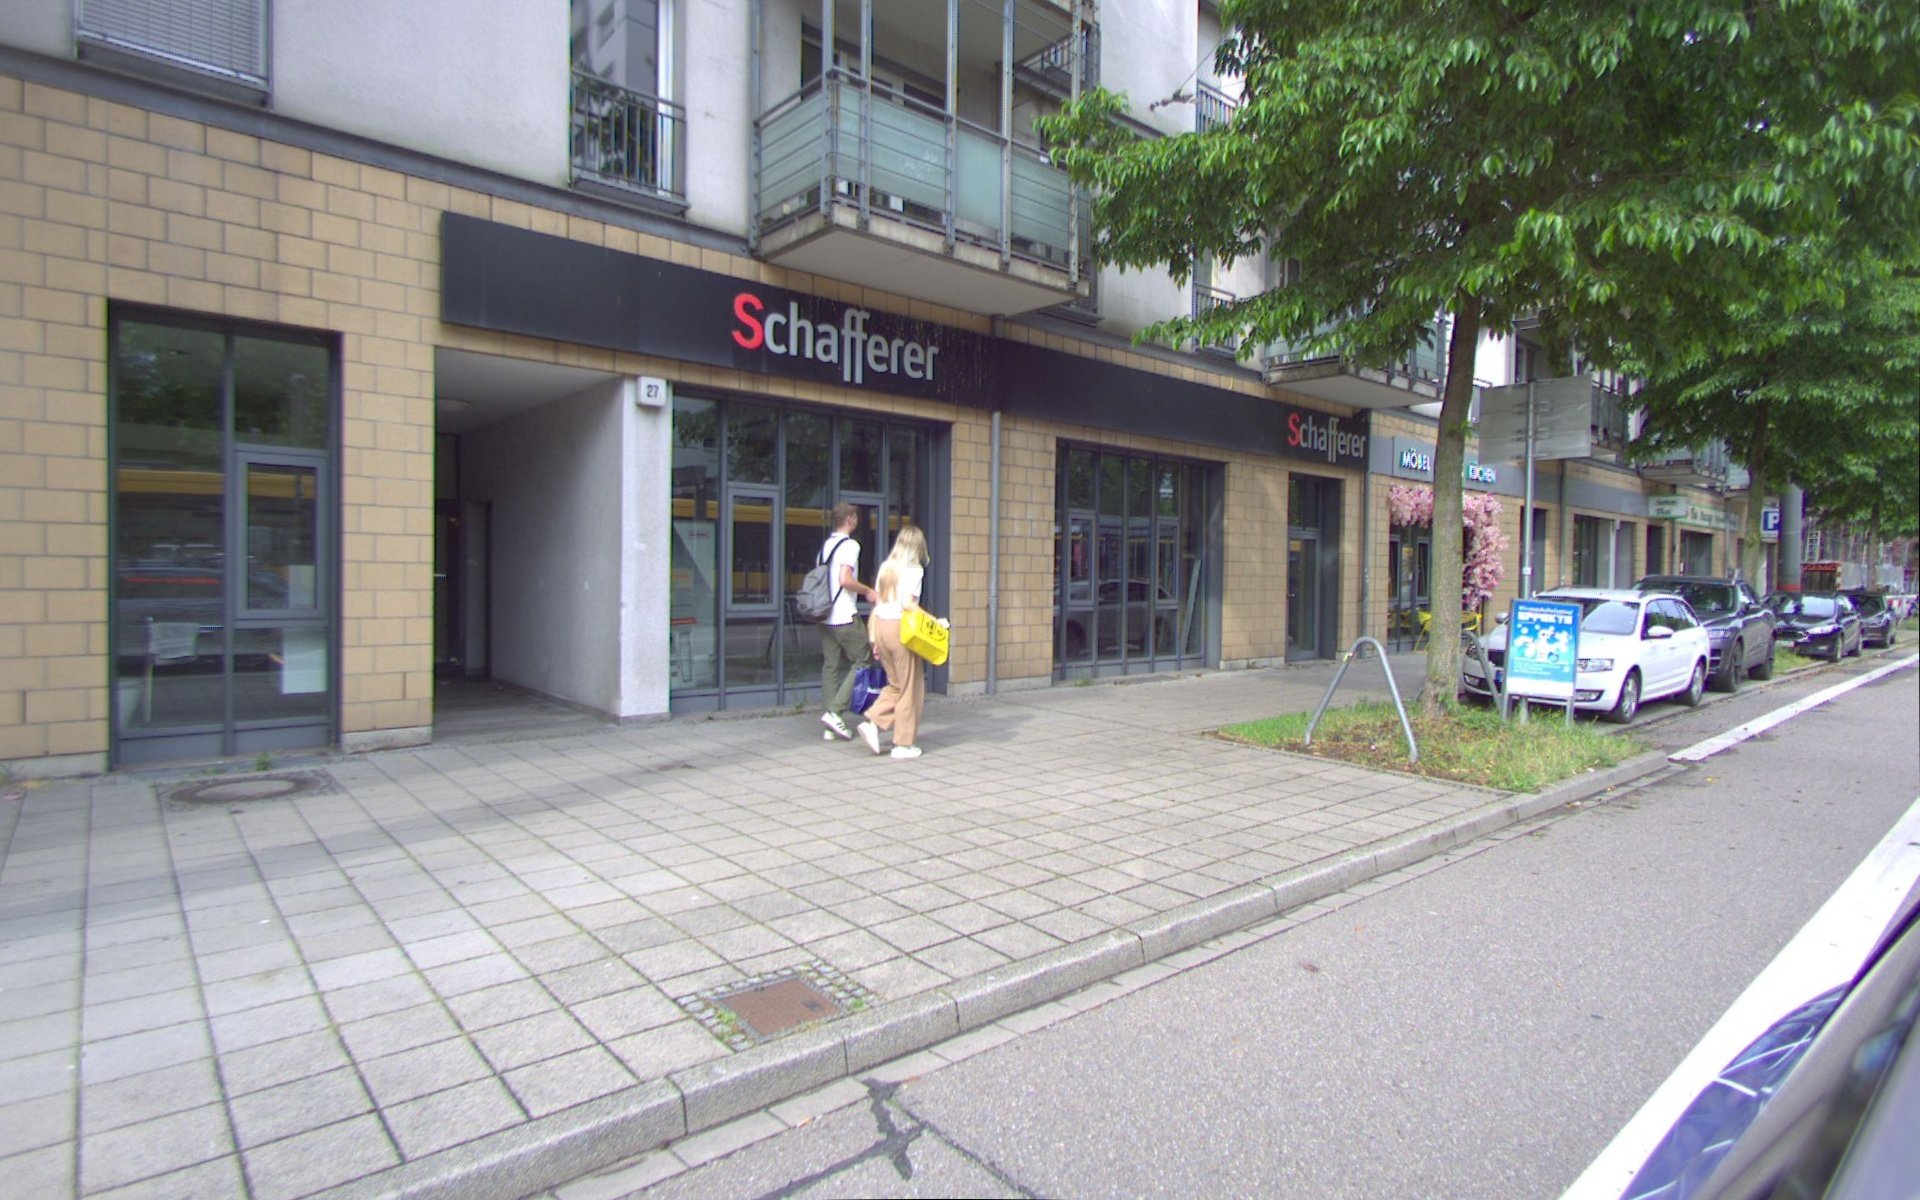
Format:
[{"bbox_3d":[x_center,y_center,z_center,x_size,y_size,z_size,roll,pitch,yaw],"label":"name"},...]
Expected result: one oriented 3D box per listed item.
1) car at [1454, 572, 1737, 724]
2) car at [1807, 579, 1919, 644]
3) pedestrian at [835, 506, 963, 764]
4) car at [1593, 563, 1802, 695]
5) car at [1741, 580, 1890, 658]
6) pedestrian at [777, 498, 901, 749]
[{"bbox_3d":[8.058,0.465,12.672,4.312,1.517,1.681,-1,4,-40],"label":"car"},{"bbox_3d":[24.238,0.241,27.110,4.315,1.472,1.800,-1,5,-43],"label":"car"},{"bbox_3d":[-0.462,0.238,7.641,0.724,1.828,0.617,0,2,-39],"label":"pedestrian"},{"bbox_3d":[11.789,0.345,16.049,4.632,1.737,1.715,-1,4,-42],"label":"car"},{"bbox_3d":[18.650,0.341,22.012,4.329,1.459,1.681,-1,4,-40],"label":"car"},{"bbox_3d":[-0.981,0.165,8.185,0.724,1.914,0.677,0,2,-39],"label":"pedestrian"}]
